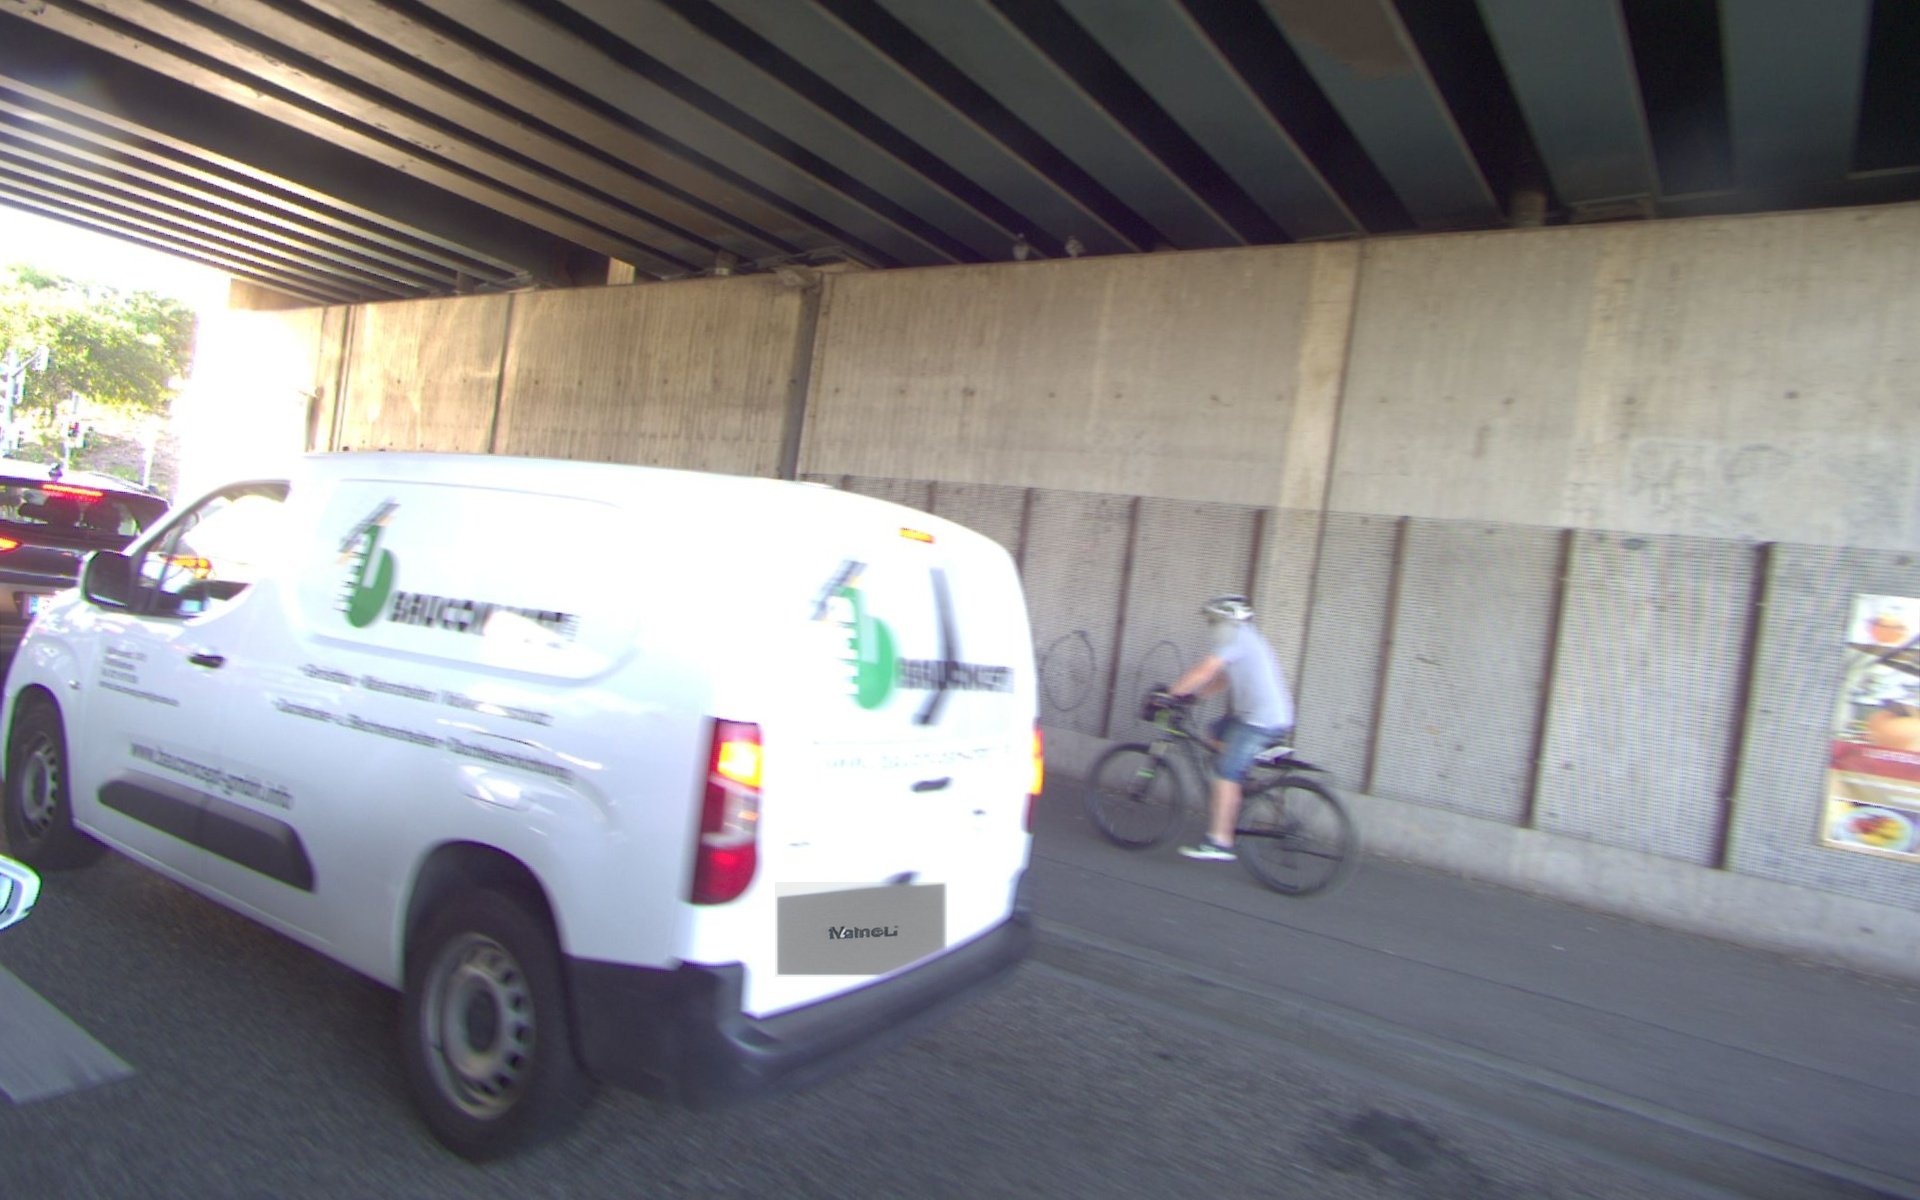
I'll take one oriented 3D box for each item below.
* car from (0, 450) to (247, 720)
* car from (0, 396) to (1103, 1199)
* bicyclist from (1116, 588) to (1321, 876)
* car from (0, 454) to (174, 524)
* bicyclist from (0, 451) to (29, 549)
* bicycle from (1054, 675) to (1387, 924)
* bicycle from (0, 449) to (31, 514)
[{"bbox_3d":[-7.464,-0.267,7.616,3.923,1.675,1.782,8,-1,31],"label":"car"},{"bbox_3d":[-1.865,0.412,3.922,4.227,1.855,1.817,8,-1,31],"label":"car"},{"bbox_3d":[1.582,0.753,6.147,0.894,1.544,0.695,7,2,32],"label":"bicyclist"},{"bbox_3d":[-32.016,-4.026,37.004,1.966,1.625,4.359,7,-2,29],"label":"car"},{"bbox_3d":[-16.891,-1.771,17.599,0.635,1.648,0.676,7,-1,43],"label":"bicyclist"},{"bbox_3d":[1.561,1.127,6.144,1.731,1.071,0.702,8,2,32],"label":"bicycle"},{"bbox_3d":[-16.850,-2.100,17.602,1.508,1.036,0.676,6,-2,43],"label":"bicycle"}]
